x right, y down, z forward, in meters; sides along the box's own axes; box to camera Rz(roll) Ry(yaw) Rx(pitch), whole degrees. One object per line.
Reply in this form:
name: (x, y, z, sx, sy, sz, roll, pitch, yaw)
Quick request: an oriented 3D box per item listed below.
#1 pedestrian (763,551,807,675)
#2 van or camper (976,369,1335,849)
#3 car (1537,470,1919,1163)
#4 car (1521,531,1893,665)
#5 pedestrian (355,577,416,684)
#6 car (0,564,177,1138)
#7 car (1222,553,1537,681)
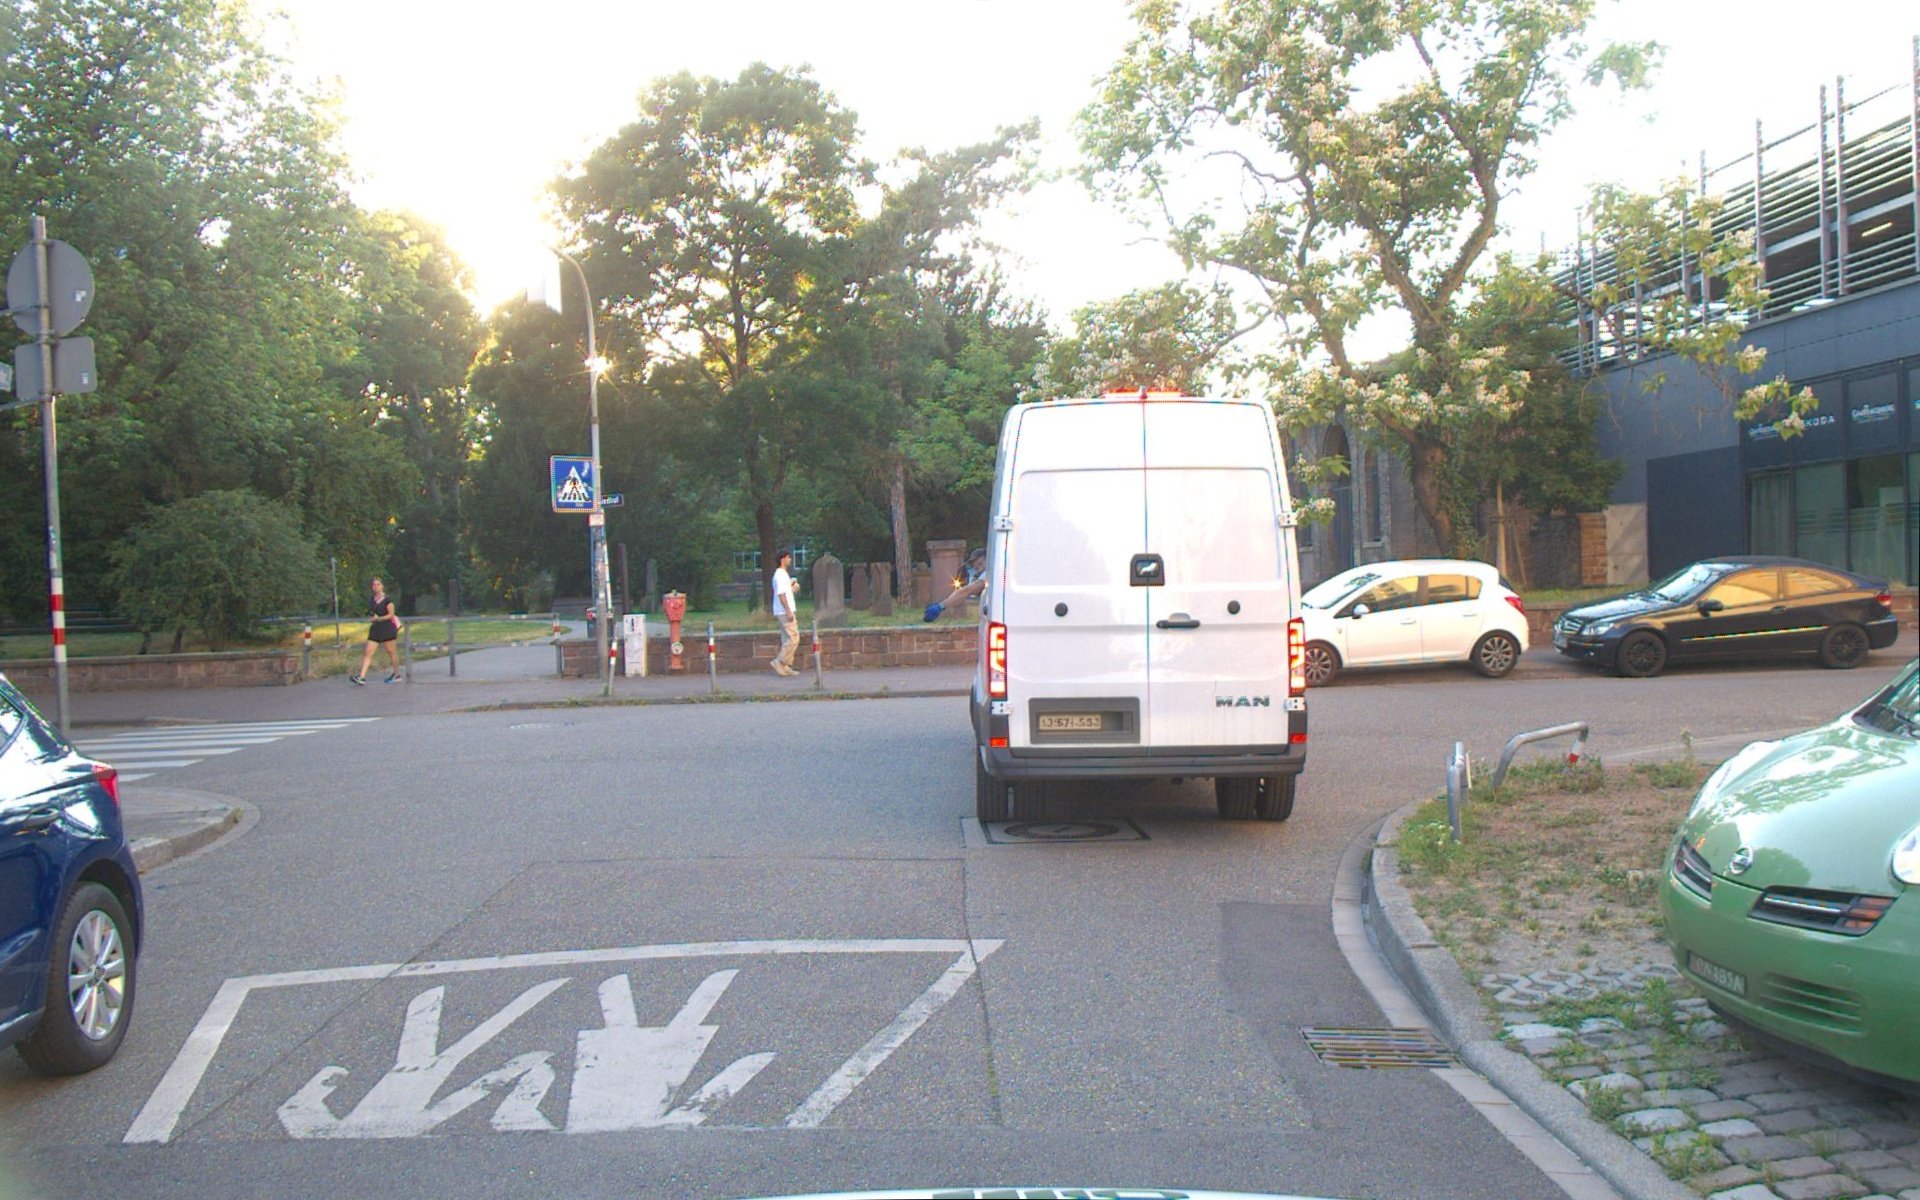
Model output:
pedestrian: (-2.633, 0.191, 24.922, 0.581, 1.840, 0.620, -1, 0, -1)
van or camper: (1.123, 0.024, 12.462, 1.952, 2.664, 6.403, 1, 0, 0)
car: (4.293, 0.423, 5.082, 4.318, 1.660, 1.844, -3, -1, -5)
car: (10.078, -0.035, 22.552, 4.204, 1.529, 1.824, -3, 1, 2)
pedestrian: (-9.114, 0.472, 26.237, 0.635, 1.677, 0.672, 0, 1, 32)
car: (-3.490, 0.751, 3.868, 1.700, 1.594, 3.787, -3, 1, -5)
car: (5.700, 0.205, 22.781, 3.779, 1.601, 1.957, -1, 1, -4)
